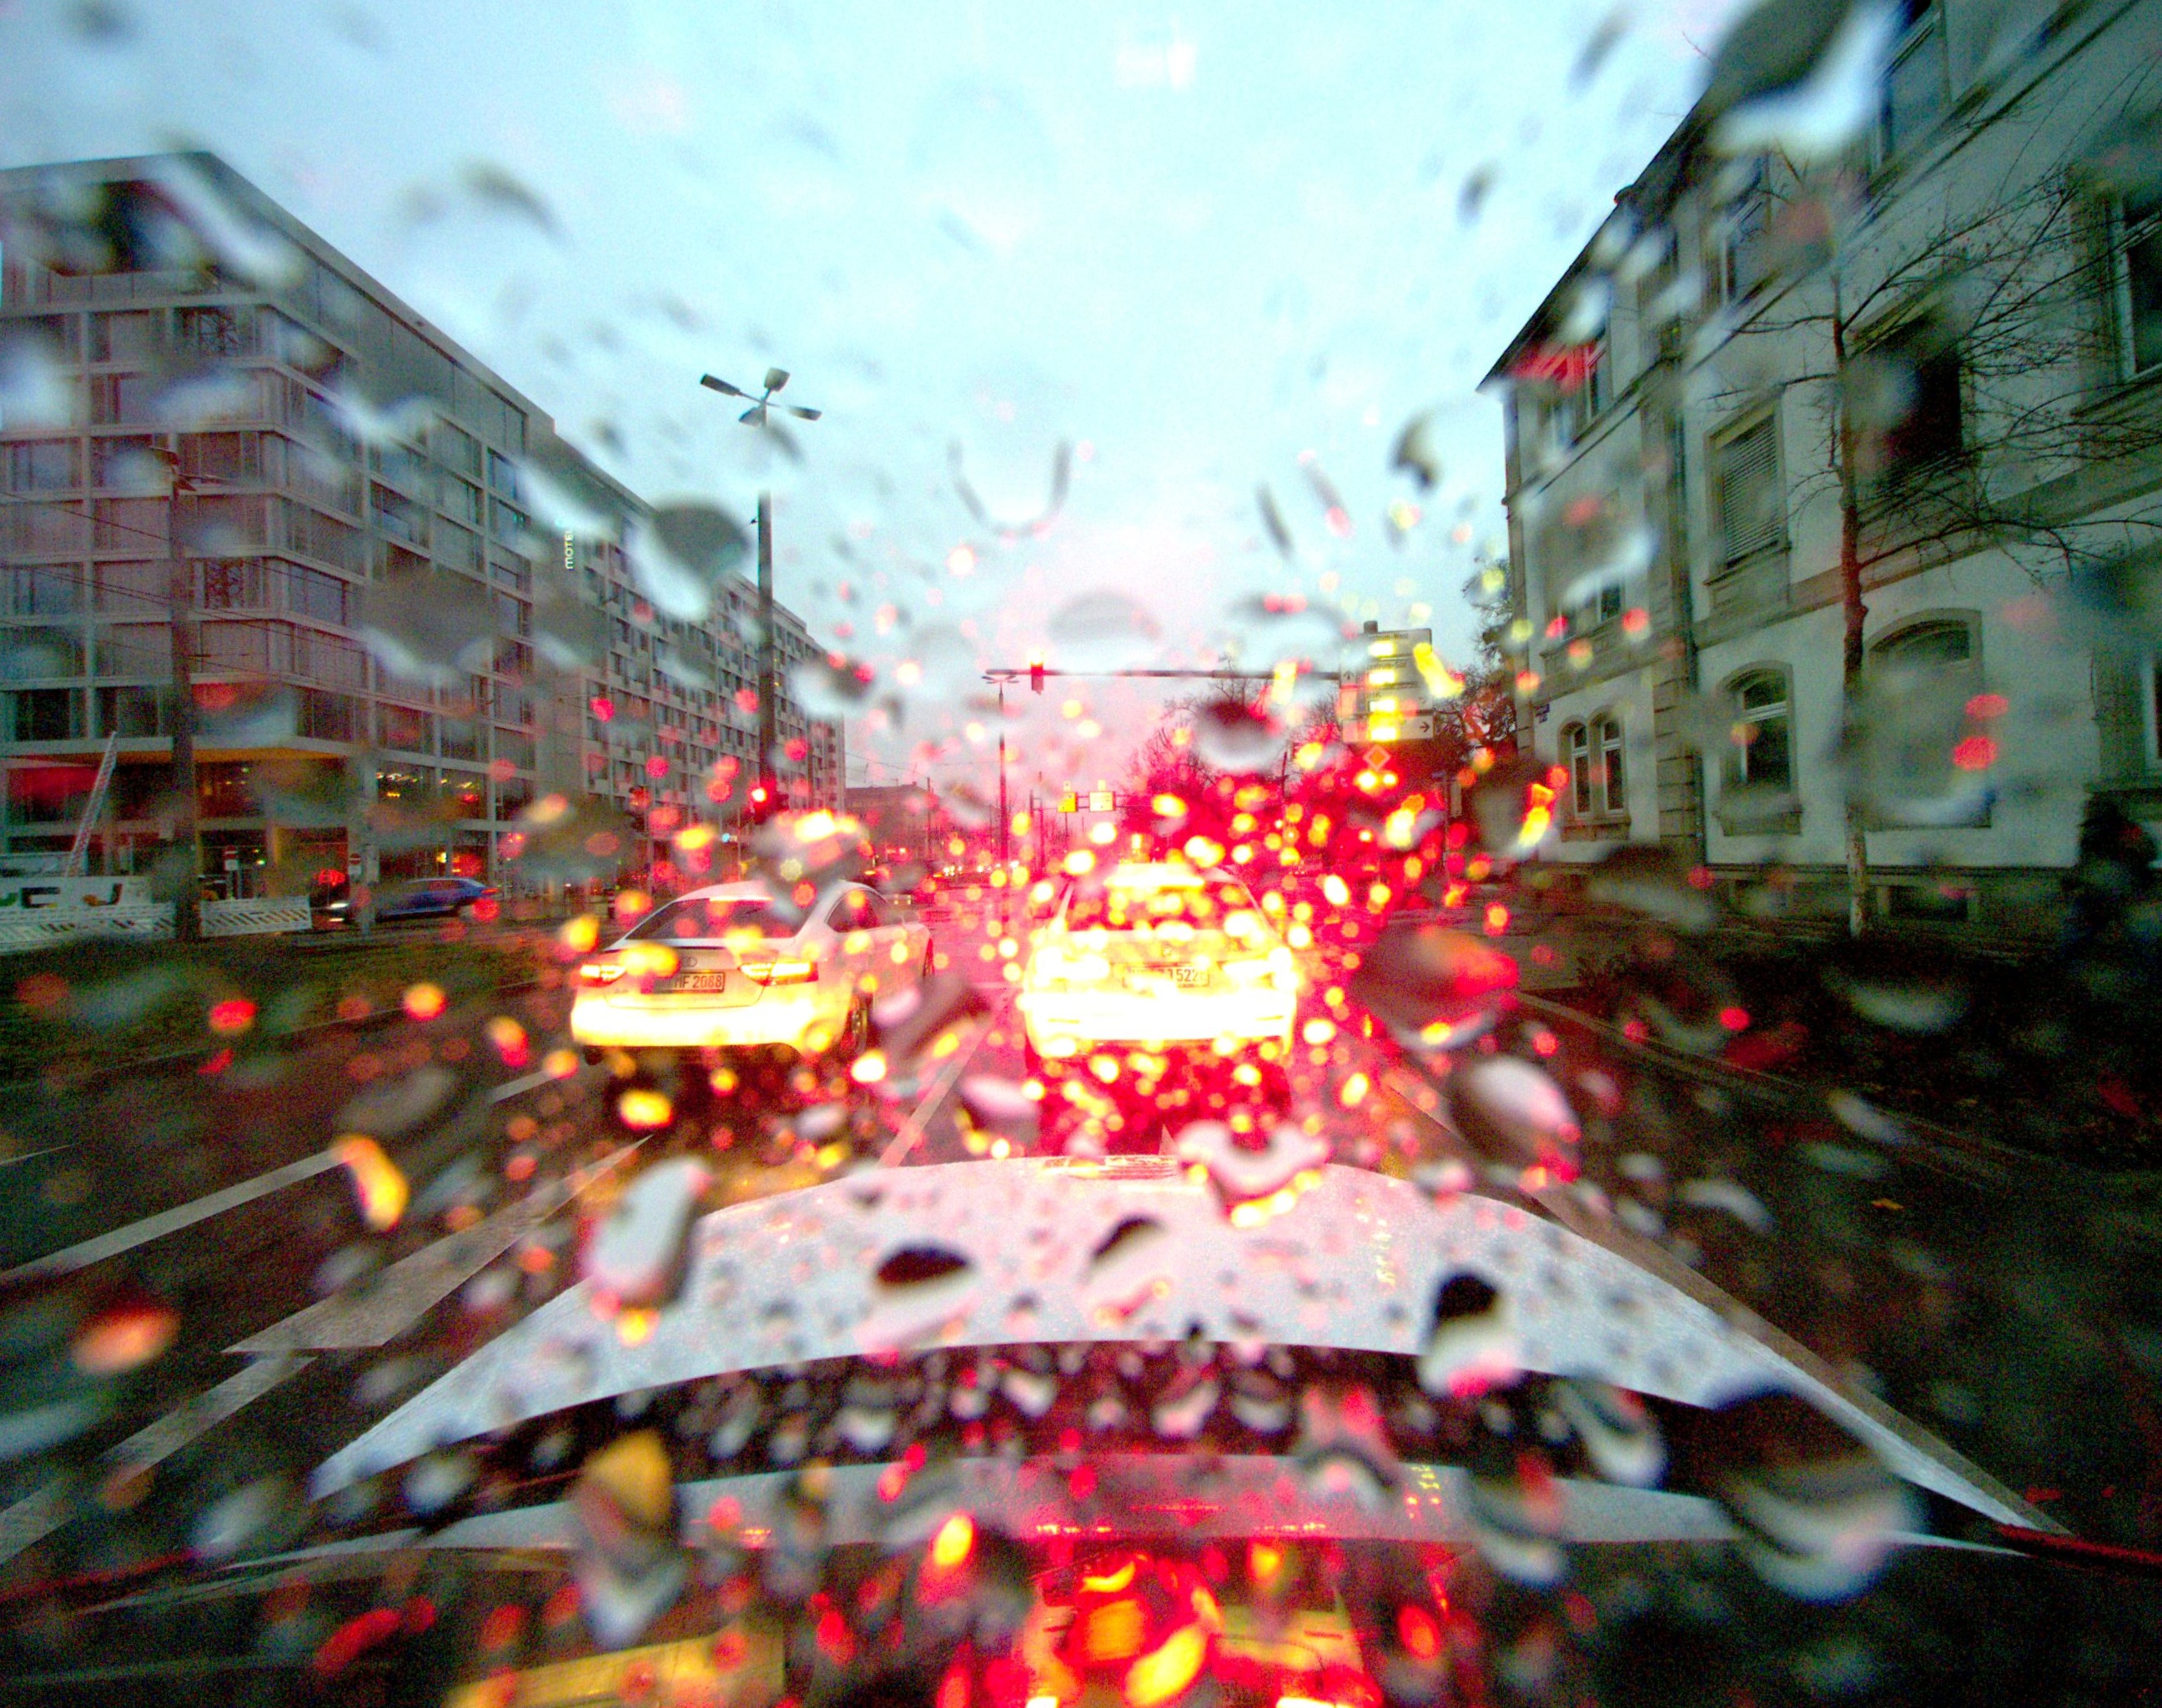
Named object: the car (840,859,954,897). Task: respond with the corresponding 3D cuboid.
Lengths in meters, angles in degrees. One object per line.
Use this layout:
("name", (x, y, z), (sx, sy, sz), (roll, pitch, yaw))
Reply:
("car", (-7.321, 0.948, 32.720), (4.075, 1.441, 1.841), (-1, -1, 3))

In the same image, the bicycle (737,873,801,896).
("bicycle", (-14.608, 1.422, 38.155), (2.661, 1.089, 0.814), (0, -1, -4))

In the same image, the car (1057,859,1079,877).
("car", (-1.200, 1.292, 74.672), (1.740, 1.554, 3.961), (0, -1, -4))

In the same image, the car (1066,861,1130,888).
("car", (0.899, 1.093, 44.706), (1.762, 1.402, 3.962), (1, -1, -30))

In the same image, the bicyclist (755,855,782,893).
("bicyclist", (-14.646, 0.947, 38.169), (0.970, 1.759, 0.812), (0, -1, -4))

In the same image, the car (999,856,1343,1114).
("car", (0.529, 0.764, 6.935), (1.987, 1.456, 4.367), (-1, 0, 0))

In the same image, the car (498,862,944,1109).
("car", (-2.594, 0.832, 7.228), (1.987, 1.456, 4.367), (-1, 0, 0))

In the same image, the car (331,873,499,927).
("car", (-21.435, 1.434, 26.456), (4.014, 1.622, 1.702), (1, -1, -33))

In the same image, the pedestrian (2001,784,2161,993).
("pedestrian", (8.719, 0.269, 6.959), (0.866, 1.673, 0.706), (-2, 0, -3))

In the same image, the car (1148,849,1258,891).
("car", (4.779, 0.623, 31.792), (4.064, 1.529, 1.846), (-1, -1, 14))

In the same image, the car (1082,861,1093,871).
("car", (1.163, 1.966, 136.489), (1.836, 1.609, 3.945), (0, -1, 1))

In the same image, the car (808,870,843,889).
("car", (-21.283, 2.115, 68.058), (1.669, 1.508, 3.697), (0, -1, 1))
